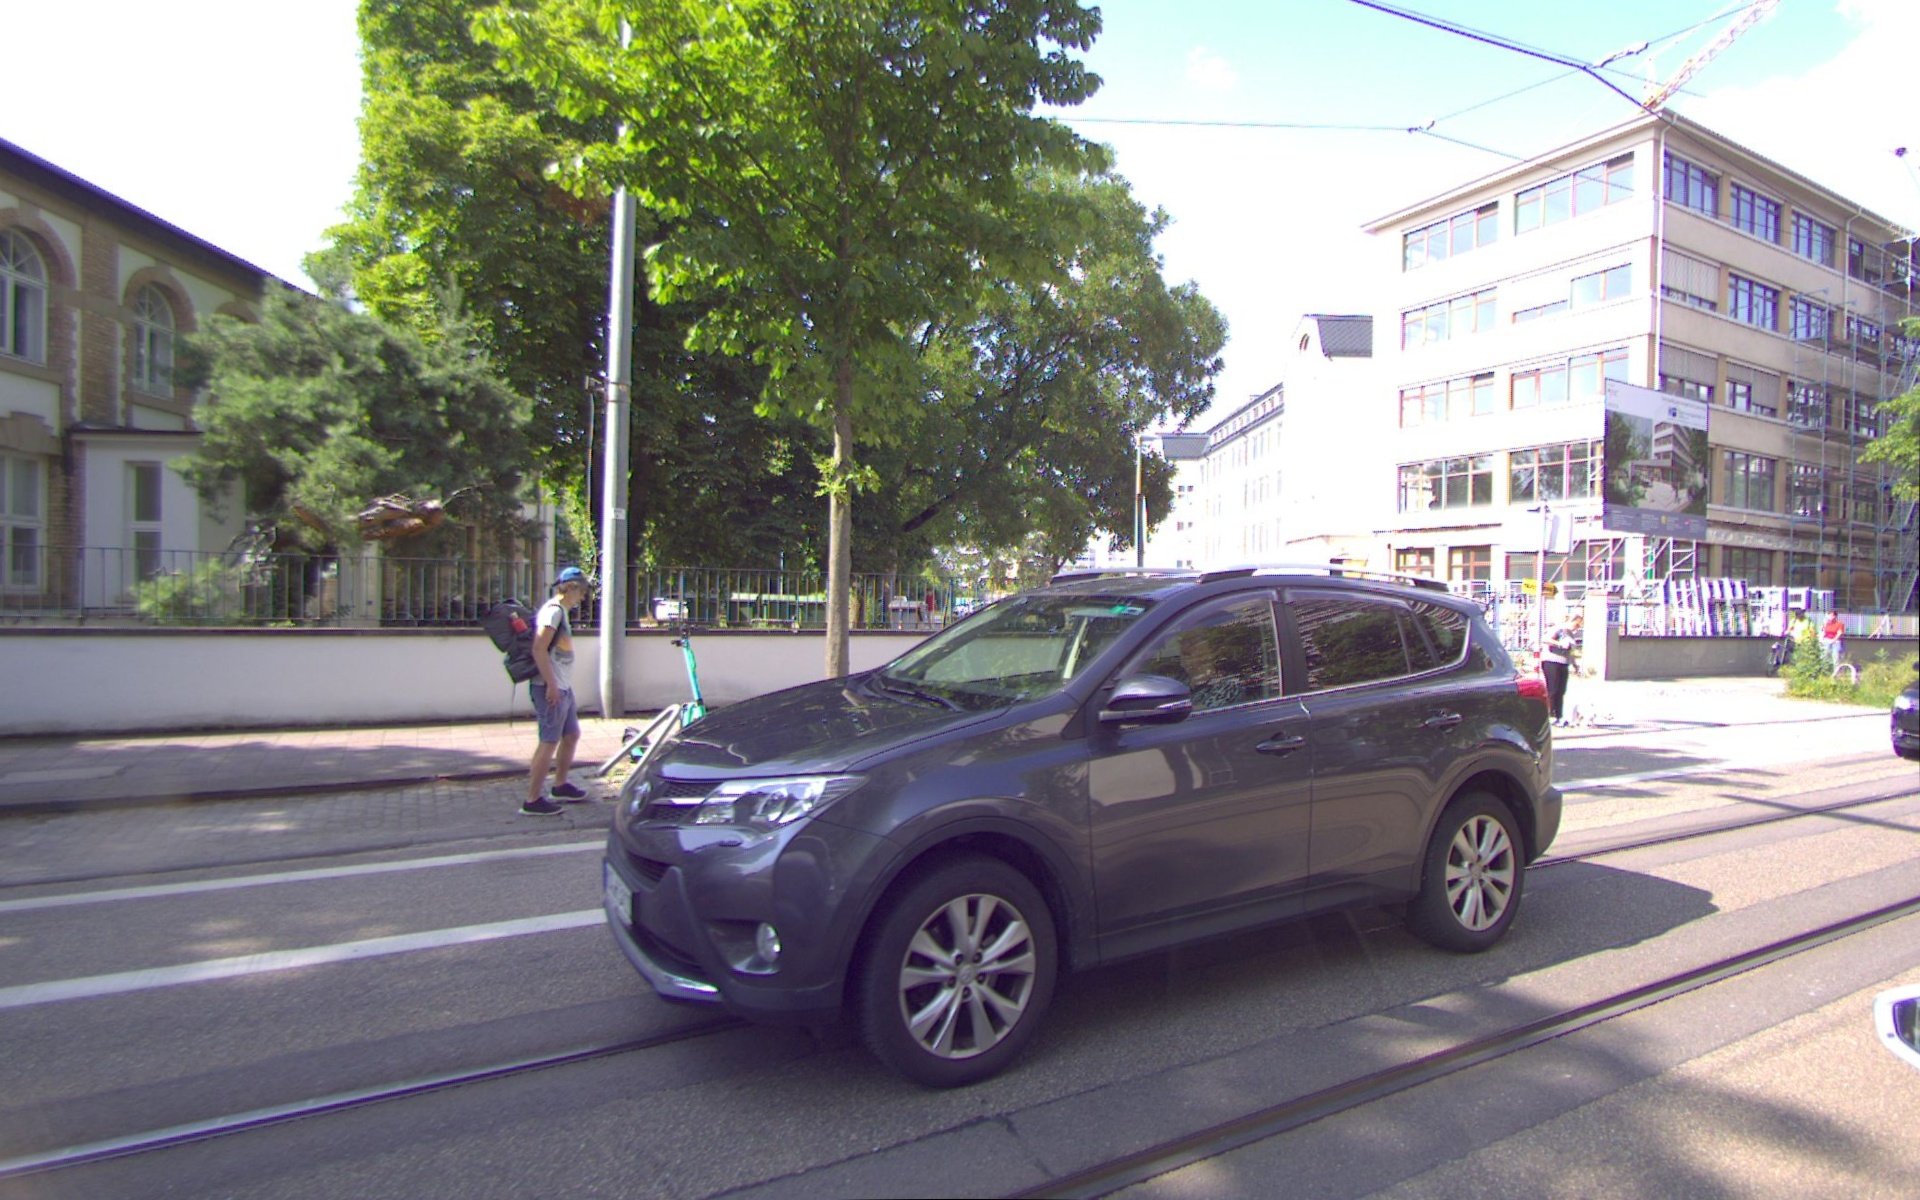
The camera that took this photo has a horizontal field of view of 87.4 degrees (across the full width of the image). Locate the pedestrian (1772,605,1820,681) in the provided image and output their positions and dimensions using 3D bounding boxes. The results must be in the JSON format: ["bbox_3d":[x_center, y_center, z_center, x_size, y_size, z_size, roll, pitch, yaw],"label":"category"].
[{"bbox_3d":[20.718,1.054,24.895,0.655,1.817,0.702,1,1,-35],"label":"pedestrian"}]

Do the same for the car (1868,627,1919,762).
[{"bbox_3d":[11.903,1.024,11.099,3.954,1.394,1.714,2,-1,-31],"label":"car"}]

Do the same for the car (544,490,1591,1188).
[{"bbox_3d":[0.621,0.609,4.397,4.339,1.750,1.817,0,0,-30],"label":"car"}]

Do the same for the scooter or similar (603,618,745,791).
[{"bbox_3d":[-2.488,0.840,8.643,0.845,1.297,1.331,1,1,-31],"label":"scooter or similar"}]

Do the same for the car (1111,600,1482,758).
[{"bbox_3d":[4.125,0.840,12.044,4.543,1.536,1.739,1,1,-33],"label":"car"}]

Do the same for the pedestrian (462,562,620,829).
[{"bbox_3d":[-2.975,0.644,7.200,0.775,1.790,0.753,2,1,0],"label":"pedestrian"}]

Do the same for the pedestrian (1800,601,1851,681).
[{"bbox_3d":[21.005,0.983,24.374,0.655,1.857,0.702,-1,4,-35],"label":"pedestrian"}]

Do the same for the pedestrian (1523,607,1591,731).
[{"bbox_3d":[8.422,0.944,14.188,0.714,1.659,0.691,2,1,27],"label":"pedestrian"}]

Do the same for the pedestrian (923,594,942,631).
[{"bbox_3d":[-1.222,0.545,44.881,0.751,1.642,0.594,1,0,9],"label":"pedestrian"}]

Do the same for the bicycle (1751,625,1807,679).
[{"bbox_3d":[20.563,1.299,25.208,1.716,1.303,0.444,1,0,-28],"label":"bicycle"}]
